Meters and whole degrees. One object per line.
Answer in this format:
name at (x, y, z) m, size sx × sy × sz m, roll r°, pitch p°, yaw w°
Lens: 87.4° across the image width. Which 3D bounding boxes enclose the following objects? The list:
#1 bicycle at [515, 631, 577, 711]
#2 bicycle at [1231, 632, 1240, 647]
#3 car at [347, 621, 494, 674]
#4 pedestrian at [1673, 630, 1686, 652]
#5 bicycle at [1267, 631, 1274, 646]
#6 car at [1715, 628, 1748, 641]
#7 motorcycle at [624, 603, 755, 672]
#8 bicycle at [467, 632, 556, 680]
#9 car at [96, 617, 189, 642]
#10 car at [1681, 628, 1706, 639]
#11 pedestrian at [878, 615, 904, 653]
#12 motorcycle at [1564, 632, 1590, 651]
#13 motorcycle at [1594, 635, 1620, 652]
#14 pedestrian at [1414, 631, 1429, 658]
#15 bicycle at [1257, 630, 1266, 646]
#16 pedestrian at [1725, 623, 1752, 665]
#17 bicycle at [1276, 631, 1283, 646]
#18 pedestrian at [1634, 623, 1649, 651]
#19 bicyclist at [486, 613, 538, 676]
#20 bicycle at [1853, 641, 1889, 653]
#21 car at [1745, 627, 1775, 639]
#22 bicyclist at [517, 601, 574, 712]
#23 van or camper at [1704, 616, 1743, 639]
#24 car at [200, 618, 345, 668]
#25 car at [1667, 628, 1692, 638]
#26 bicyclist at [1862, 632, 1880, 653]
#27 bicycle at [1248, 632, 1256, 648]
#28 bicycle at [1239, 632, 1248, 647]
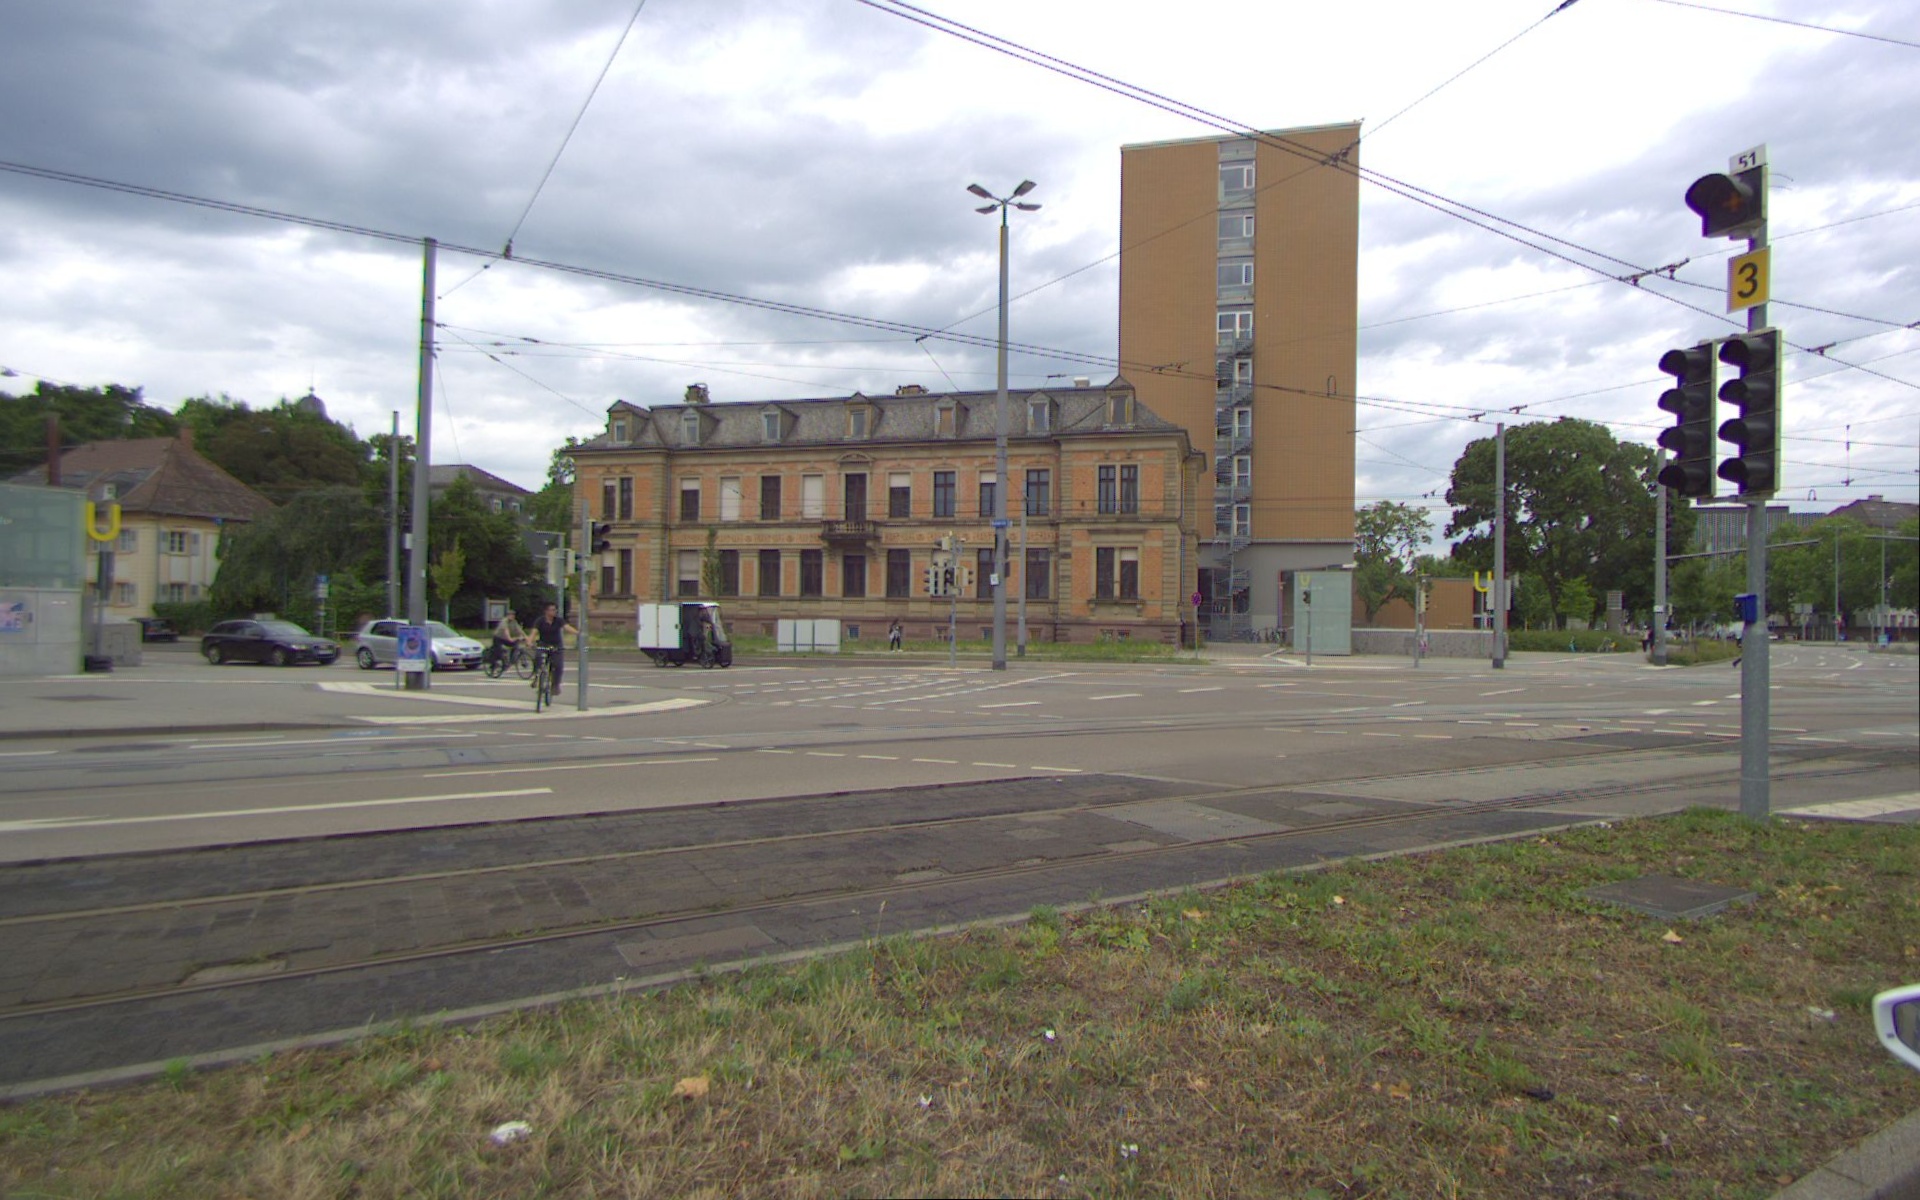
bicycle at (-7.063, 1.169, 17.086) m, size 0.805 × 1.259 × 1.986 m, roll 0°, pitch -2°, yaw -27°
bicycle at (20.427, 2.908, 74.469) m, size 0.561 × 1.120 × 1.428 m, roll 1°, pitch -1°, yaw 18°
car at (-16.252, 1.382, 30.257) m, size 4.081 × 1.473 × 1.761 m, roll 0°, pitch -1°, yaw 23°
pedestrian at (67.182, 3.820, 93.803) m, size 0.868 × 2.007 × 0.792 m, roll 0°, pitch -2°, yaw 42°
bicycle at (22.821, 2.813, 73.760) m, size 0.500 × 1.063 × 1.428 m, roll 1°, pitch -1°, yaw 18°
car at (94.956, 4.262, 123.615) m, size 1.746 × 1.483 × 4.002 m, roll 1°, pitch -1°, yaw 14°
motorcycle at (-8.486, 1.134, 31.572) m, size 3.614 × 2.040 × 1.696 m, roll 1°, pitch -1°, yaw 19°
bicycle at (-11.874, 1.466, 26.596) m, size 2.154 × 1.224 × 0.857 m, roll 0°, pitch -2°, yaw 20°
car at (-45.037, 1.597, 55.356) m, size 3.919 × 1.305 × 1.936 m, roll 1°, pitch -1°, yaw 12°
car at (109.936, 5.062, 150.599) m, size 1.746 × 1.483 × 4.002 m, roll 1°, pitch 0°, yaw 15°
pedestrian at (-3.263, 1.609, 47.627) m, size 1.104 × 1.786 × 0.759 m, roll 1°, pitch -1°, yaw 8°
motorcycle at (41.579, 2.805, 67.703) m, size 1.443 × 1.285 × 0.512 m, roll 1°, pitch -1°, yaw 14°
motorcycle at (43.683, 2.947, 67.829) m, size 1.716 × 1.126 × 0.510 m, roll 1°, pitch -1°, yaw -17°
pedestrian at (23.125, 2.230, 50.383) m, size 0.562 × 1.353 × 0.499 m, roll 1°, pitch -1°, yaw 10°
bicycle at (22.197, 2.804, 73.959) m, size 0.561 × 1.120 × 1.428 m, roll 1°, pitch -1°, yaw 18°
pedestrian at (38.976, 2.191, 50.296) m, size 1.009 × 2.040 × 0.842 m, roll 0°, pitch -1°, yaw 41°
bicycle at (23.395, 2.798, 73.636) m, size 0.472 × 1.063 × 1.428 m, roll 1°, pitch -1°, yaw 18°
pedestrian at (49.910, 2.682, 73.543) m, size 0.781 × 2.007 × 0.880 m, roll 1°, pitch -2°, yaw 26°
bicyclist at (-11.863, 1.166, 26.604) m, size 0.899 × 1.644 × 0.855 m, roll 0°, pitch -1°, yaw 20°
bicycle at (89.341, 4.609, 98.505) m, size 2.676 × 1.194 × 0.942 m, roll 1°, pitch -1°, yaw -1°
car at (109.855, 4.510, 137.962) m, size 1.746 × 1.483 × 4.001 m, roll 1°, pitch 0°, yaw 17°
bicyclist at (-7.094, 0.938, 17.155) m, size 0.805 × 1.822 × 1.022 m, roll 0°, pitch 0°, yaw -28°
van or camper at (108.264, 3.836, 142.494) m, size 2.347 × 3.165 × 5.507 m, roll 1°, pitch -1°, yaw 12°
car at (-22.050, 1.353, 32.228) m, size 4.061 × 1.468 × 1.697 m, roll 1°, pitch -1°, yaw 18°
car at (113.904, 5.276, 159.117) m, size 1.745 × 1.483 × 4.002 m, roll 1°, pitch 0°, yaw 11°
bicyclist at (89.345, 4.169, 98.515) m, size 0.959 × 2.040 × 0.940 m, roll 1°, pitch -1°, yaw -1°
bicycle at (21.553, 2.928, 74.125) m, size 0.561 × 1.120 × 1.428 m, roll 1°, pitch -1°, yaw 18°
bicycle at (20.990, 2.910, 74.296) m, size 0.561 × 1.120 × 1.428 m, roll 1°, pitch -1°, yaw 18°
